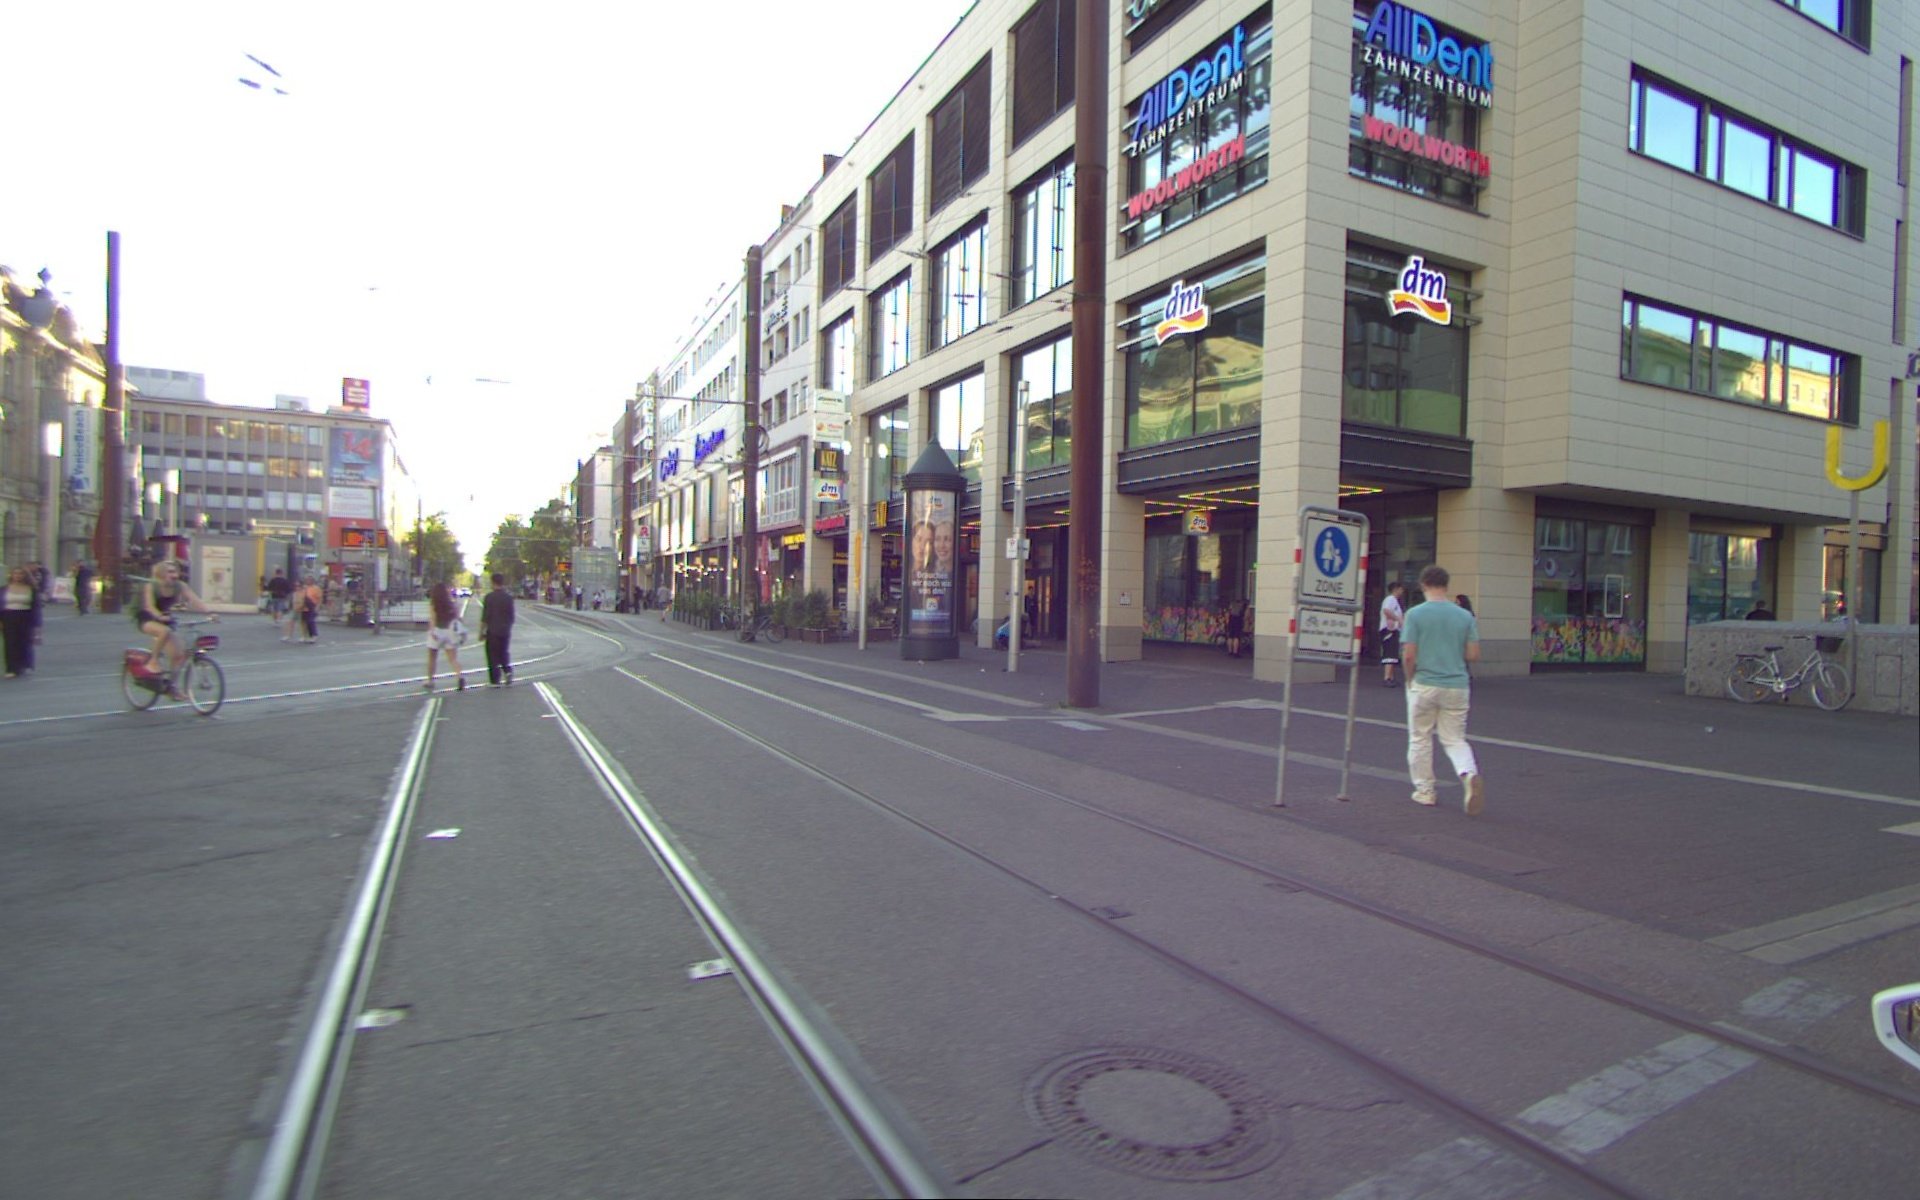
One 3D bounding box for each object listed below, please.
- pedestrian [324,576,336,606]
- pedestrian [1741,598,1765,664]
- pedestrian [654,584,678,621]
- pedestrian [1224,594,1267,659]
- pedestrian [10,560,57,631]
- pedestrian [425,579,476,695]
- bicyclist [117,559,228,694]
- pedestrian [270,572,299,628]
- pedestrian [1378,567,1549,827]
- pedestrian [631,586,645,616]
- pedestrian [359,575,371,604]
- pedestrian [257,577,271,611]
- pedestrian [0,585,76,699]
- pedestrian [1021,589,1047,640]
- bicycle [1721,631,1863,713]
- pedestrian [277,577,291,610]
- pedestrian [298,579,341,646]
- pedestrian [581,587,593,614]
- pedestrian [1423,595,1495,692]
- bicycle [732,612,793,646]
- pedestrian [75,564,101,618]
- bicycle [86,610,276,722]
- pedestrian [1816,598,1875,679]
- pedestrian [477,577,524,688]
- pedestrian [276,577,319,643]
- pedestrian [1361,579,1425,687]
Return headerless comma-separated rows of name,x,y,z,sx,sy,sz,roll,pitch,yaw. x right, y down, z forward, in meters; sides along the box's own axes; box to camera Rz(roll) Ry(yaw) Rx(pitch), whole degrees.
pedestrian,-28.237,-0.384,45.006,0.447,1.317,0.426,1,2,-32
pedestrian,18.870,0.738,23.899,0.385,1.535,0.503,2,1,42
pedestrian,-13.486,0.124,46.078,0.888,1.658,0.947,1,0,-23
pedestrian,7.033,0.647,24.759,0.777,1.547,0.573,2,2,-15
pedestrian,-22.575,-0.115,24.486,0.642,1.697,0.711,1,1,-26
pedestrian,-7.643,0.542,15.087,0.642,1.697,0.527,1,1,-26
bicyclist,-9.107,0.290,11.624,0.856,1.485,0.600,3,2,15
pedestrian,-20.762,-0.008,30.878,0.642,1.697,0.527,1,1,-26
pedestrian,3.751,0.667,7.500,0.762,1.784,0.857,1,2,-43
pedestrian,-18.313,0.062,57.097,0.676,1.658,0.582,1,0,-25
pedestrian,-27.766,-0.492,46.849,0.447,1.338,0.426,1,2,-32
pedestrian,-27.820,-0.247,40.153,0.447,1.317,0.426,1,2,-32
pedestrian,-14.051,0.627,15.284,0.743,1.697,0.528,1,1,-20
pedestrian,2.483,0.488,33.881,0.567,1.703,0.671,1,2,-26
bicycle,13.301,1.125,16.109,0.444,1.137,1.691,1,2,-24
pedestrian,-27.632,-0.262,41.079,0.447,1.317,0.426,1,2,-32
pedestrian,-16.379,0.315,25.692,0.573,1.658,0.685,1,0,8
pedestrian,-24.246,0.031,65.330,0.642,1.697,0.527,1,1,-26
pedestrian,8.982,0.766,18.104,0.802,1.682,0.767,2,2,-13
bicycle,-6.504,0.946,33.074,1.887,0.999,0.451,2,2,9
pedestrian,-27.160,-0.275,31.288,0.341,1.658,0.509,2,0,26
bicycle,-8.993,0.730,11.607,1.880,1.130,0.701,3,2,14
pedestrian,20.118,0.866,22.832,0.593,1.775,0.778,1,2,-29
pedestrian,-7.182,0.494,15.702,0.642,1.697,0.527,1,1,-26
pedestrian,-16.980,0.263,25.741,0.573,1.658,0.685,1,0,8
pedestrian,7.733,0.589,17.946,0.803,1.880,0.573,2,2,-15
